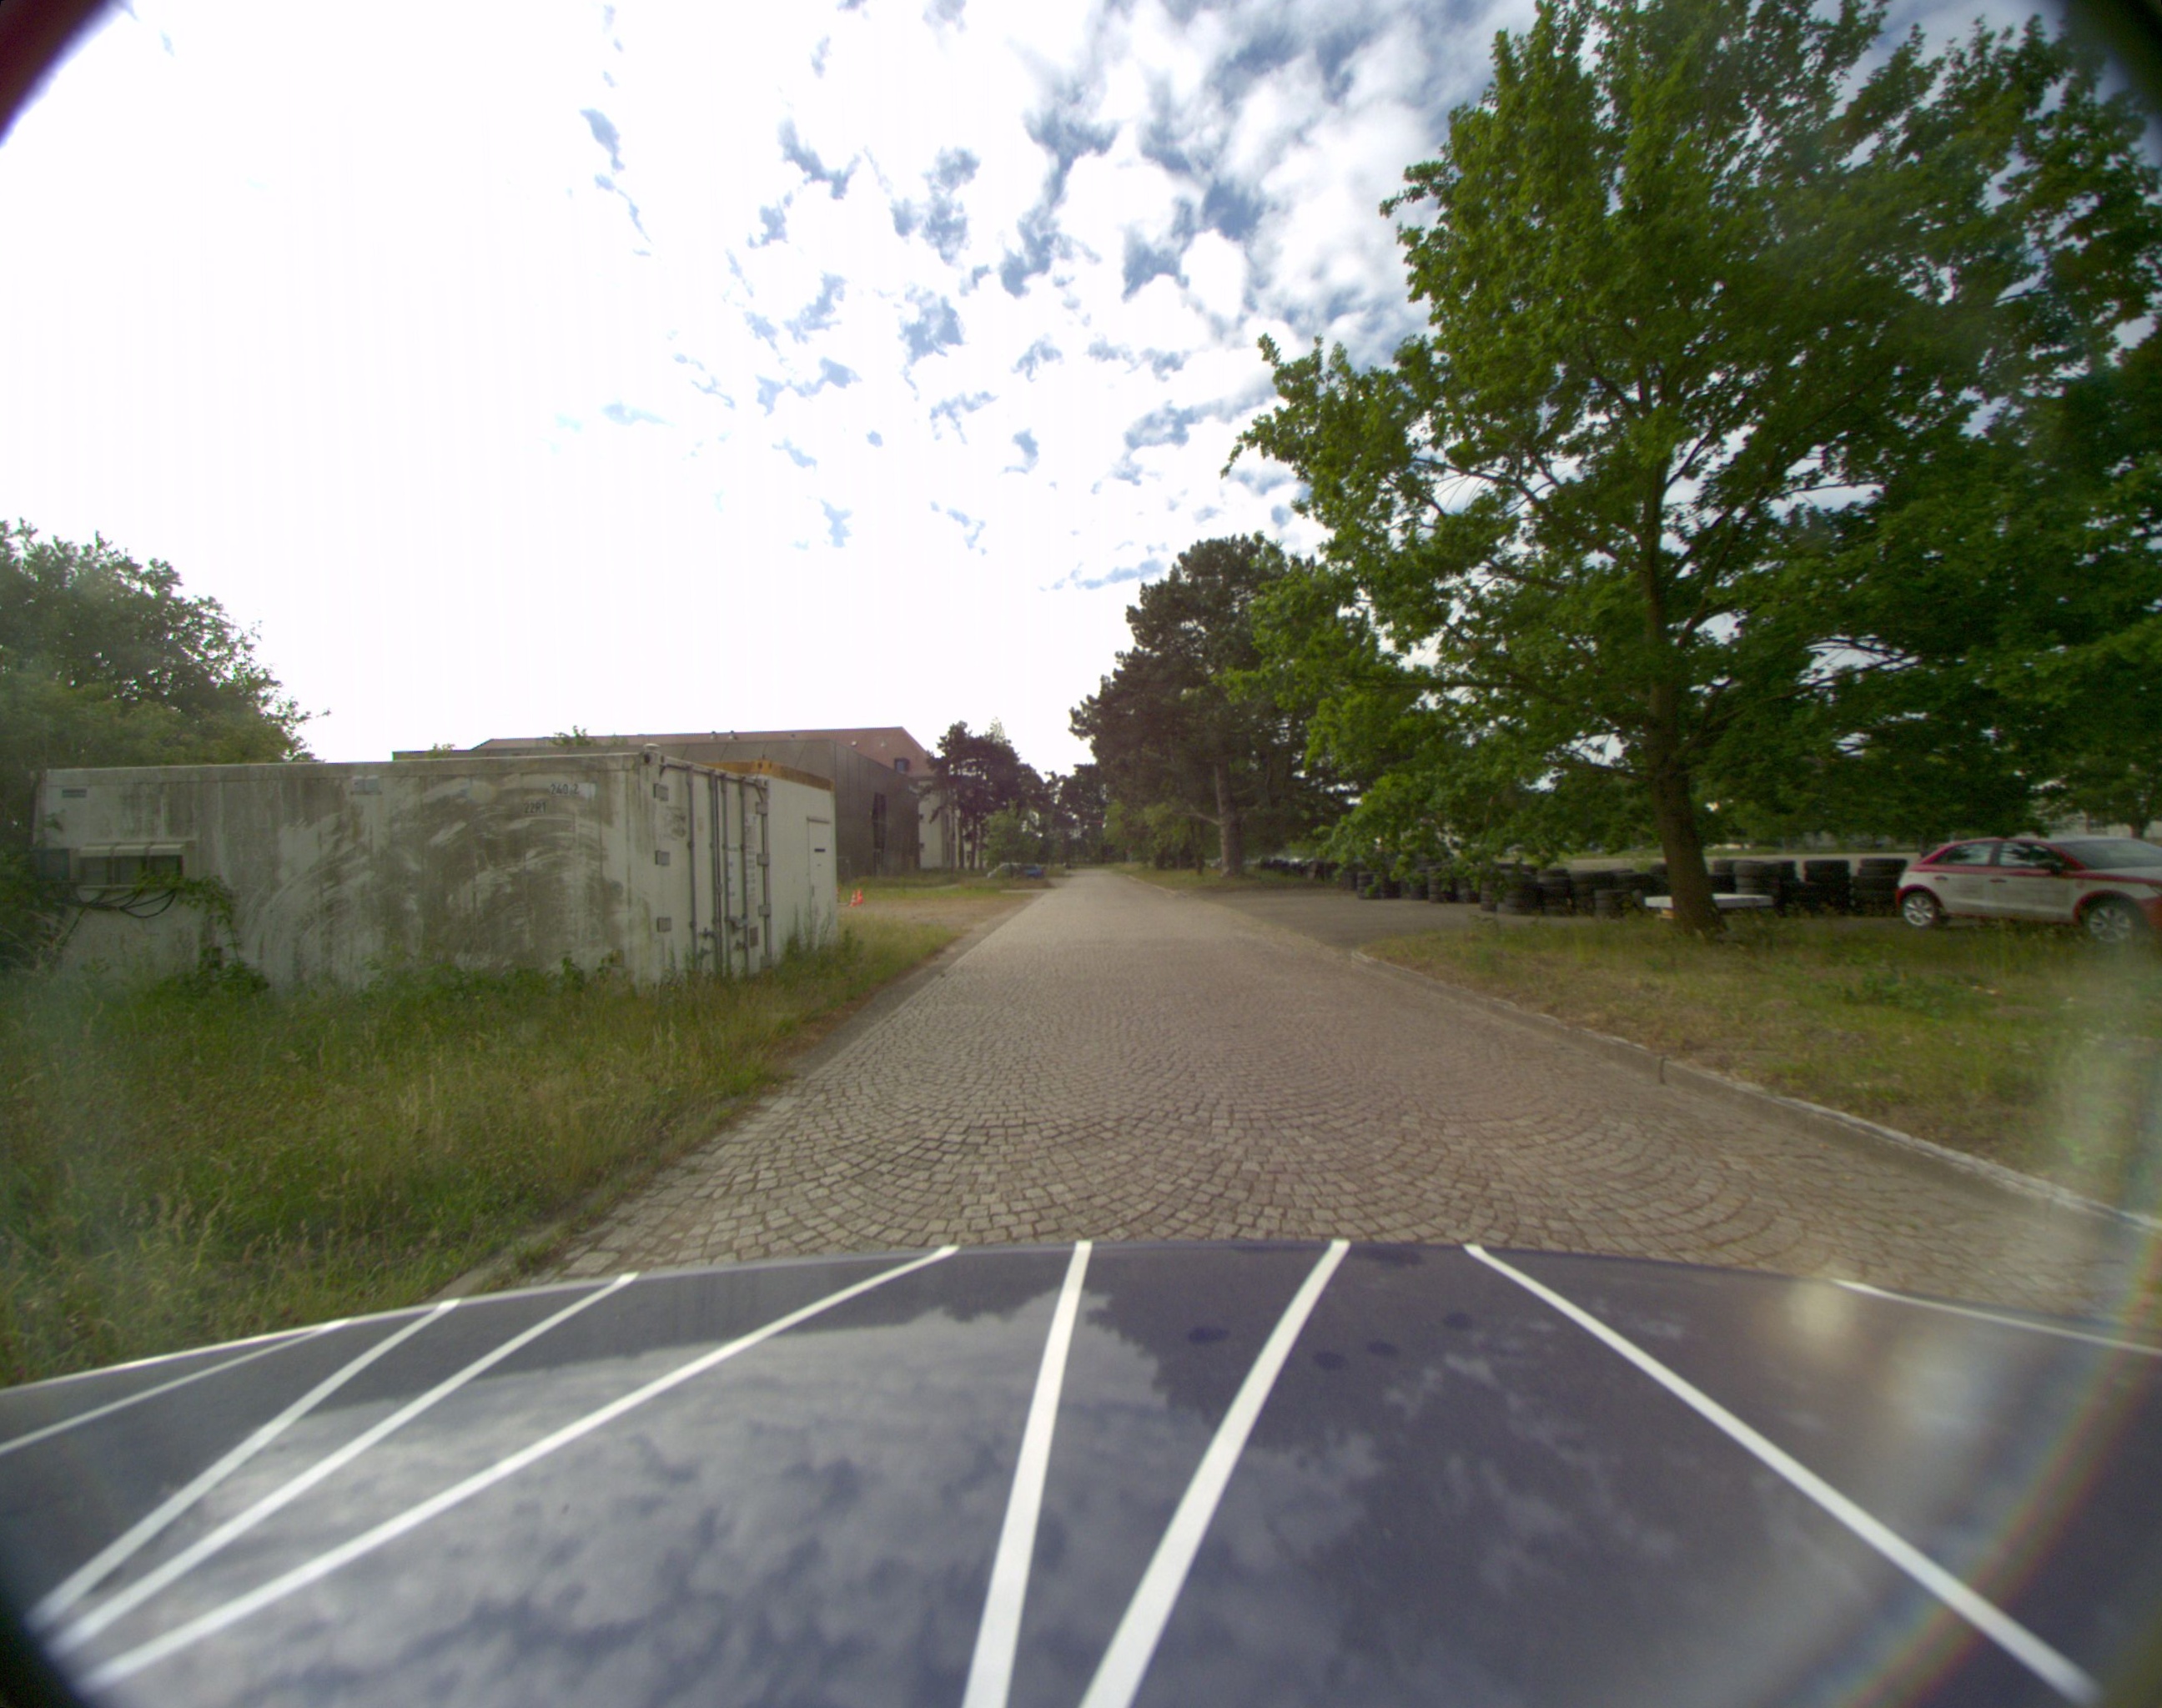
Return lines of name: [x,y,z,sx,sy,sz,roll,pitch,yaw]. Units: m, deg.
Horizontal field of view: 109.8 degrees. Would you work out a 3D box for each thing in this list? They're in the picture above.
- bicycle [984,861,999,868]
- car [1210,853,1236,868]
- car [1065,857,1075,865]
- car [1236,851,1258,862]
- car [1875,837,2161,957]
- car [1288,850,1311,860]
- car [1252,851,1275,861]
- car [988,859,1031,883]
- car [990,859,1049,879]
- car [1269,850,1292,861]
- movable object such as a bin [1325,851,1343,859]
bicycle: [-13.908,1.657,118.082,2.164,1.088,0.717,-2,0,-3]
car: [13.774,0.625,73.842,1.670,1.402,3.723,-2,0,-2]
car: [-2.570,1.534,175.397,1.999,1.777,3.998,-2,0,-5]
car: [24.301,0.392,111.300,1.999,1.441,4.452,-2,0,-3]
car: [14.057,0.496,10.600,1.827,1.423,4.221,-2,0,6]
car: [32.281,0.104,112.321,1.999,1.441,4.452,-2,0,-3]
car: [26.812,0.300,111.753,1.999,1.441,4.452,-2,0,-3]
car: [-4.908,1.148,52.500,2.748,1.573,1.683,1,0,1]
car: [-4.791,1.177,59.788,4.537,1.441,1.932,1,0,-1]
car: [29.395,0.210,111.823,1.999,1.441,4.452,-2,0,-3]
movable object such as a bin: [33.152,0.169,99.505,1.057,1.064,2.719,-2,0,-8]
